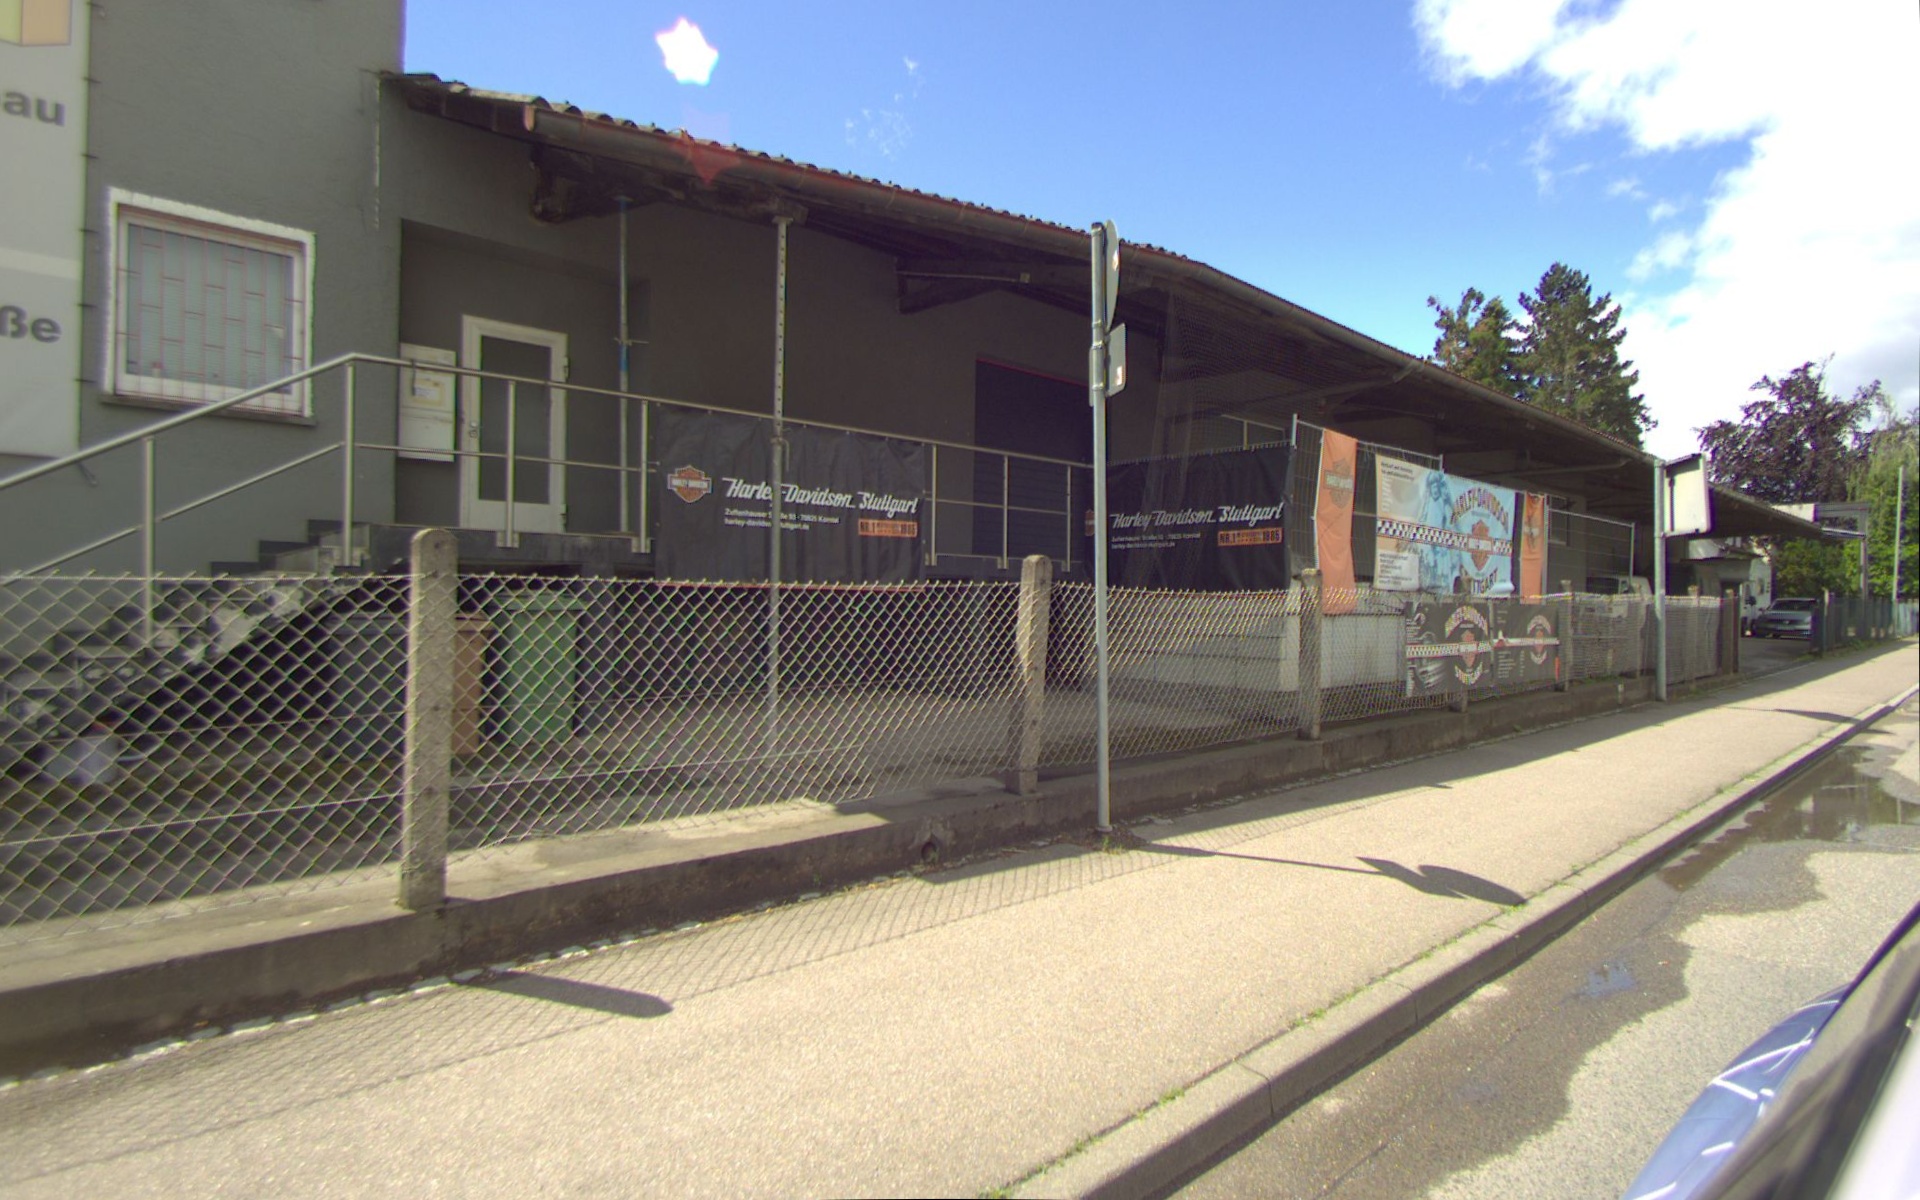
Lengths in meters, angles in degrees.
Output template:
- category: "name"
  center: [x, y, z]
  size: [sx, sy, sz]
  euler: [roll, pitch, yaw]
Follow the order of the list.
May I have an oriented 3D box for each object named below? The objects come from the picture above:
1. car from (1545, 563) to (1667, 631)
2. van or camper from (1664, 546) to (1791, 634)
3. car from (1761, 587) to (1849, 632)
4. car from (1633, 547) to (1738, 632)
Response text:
- category: "car"
  center: [19.797, -0.068, 30.922]
  size: [4.770, 1.934, 1.996]
  euler: [1, 0, -43]
- category: "van or camper"
  center: [29.608, -0.370, 38.939]
  size: [6.798, 3.099, 2.883]
  euler: [0, 0, -44]
- category: "car"
  center: [29.677, 0.333, 35.486]
  size: [4.842, 1.508, 1.766]
  euler: [1, -1, -43]
- category: "car"
  center: [25.131, -0.280, 34.959]
  size: [5.405, 2.715, 2.019]
  euler: [2, -1, -44]
